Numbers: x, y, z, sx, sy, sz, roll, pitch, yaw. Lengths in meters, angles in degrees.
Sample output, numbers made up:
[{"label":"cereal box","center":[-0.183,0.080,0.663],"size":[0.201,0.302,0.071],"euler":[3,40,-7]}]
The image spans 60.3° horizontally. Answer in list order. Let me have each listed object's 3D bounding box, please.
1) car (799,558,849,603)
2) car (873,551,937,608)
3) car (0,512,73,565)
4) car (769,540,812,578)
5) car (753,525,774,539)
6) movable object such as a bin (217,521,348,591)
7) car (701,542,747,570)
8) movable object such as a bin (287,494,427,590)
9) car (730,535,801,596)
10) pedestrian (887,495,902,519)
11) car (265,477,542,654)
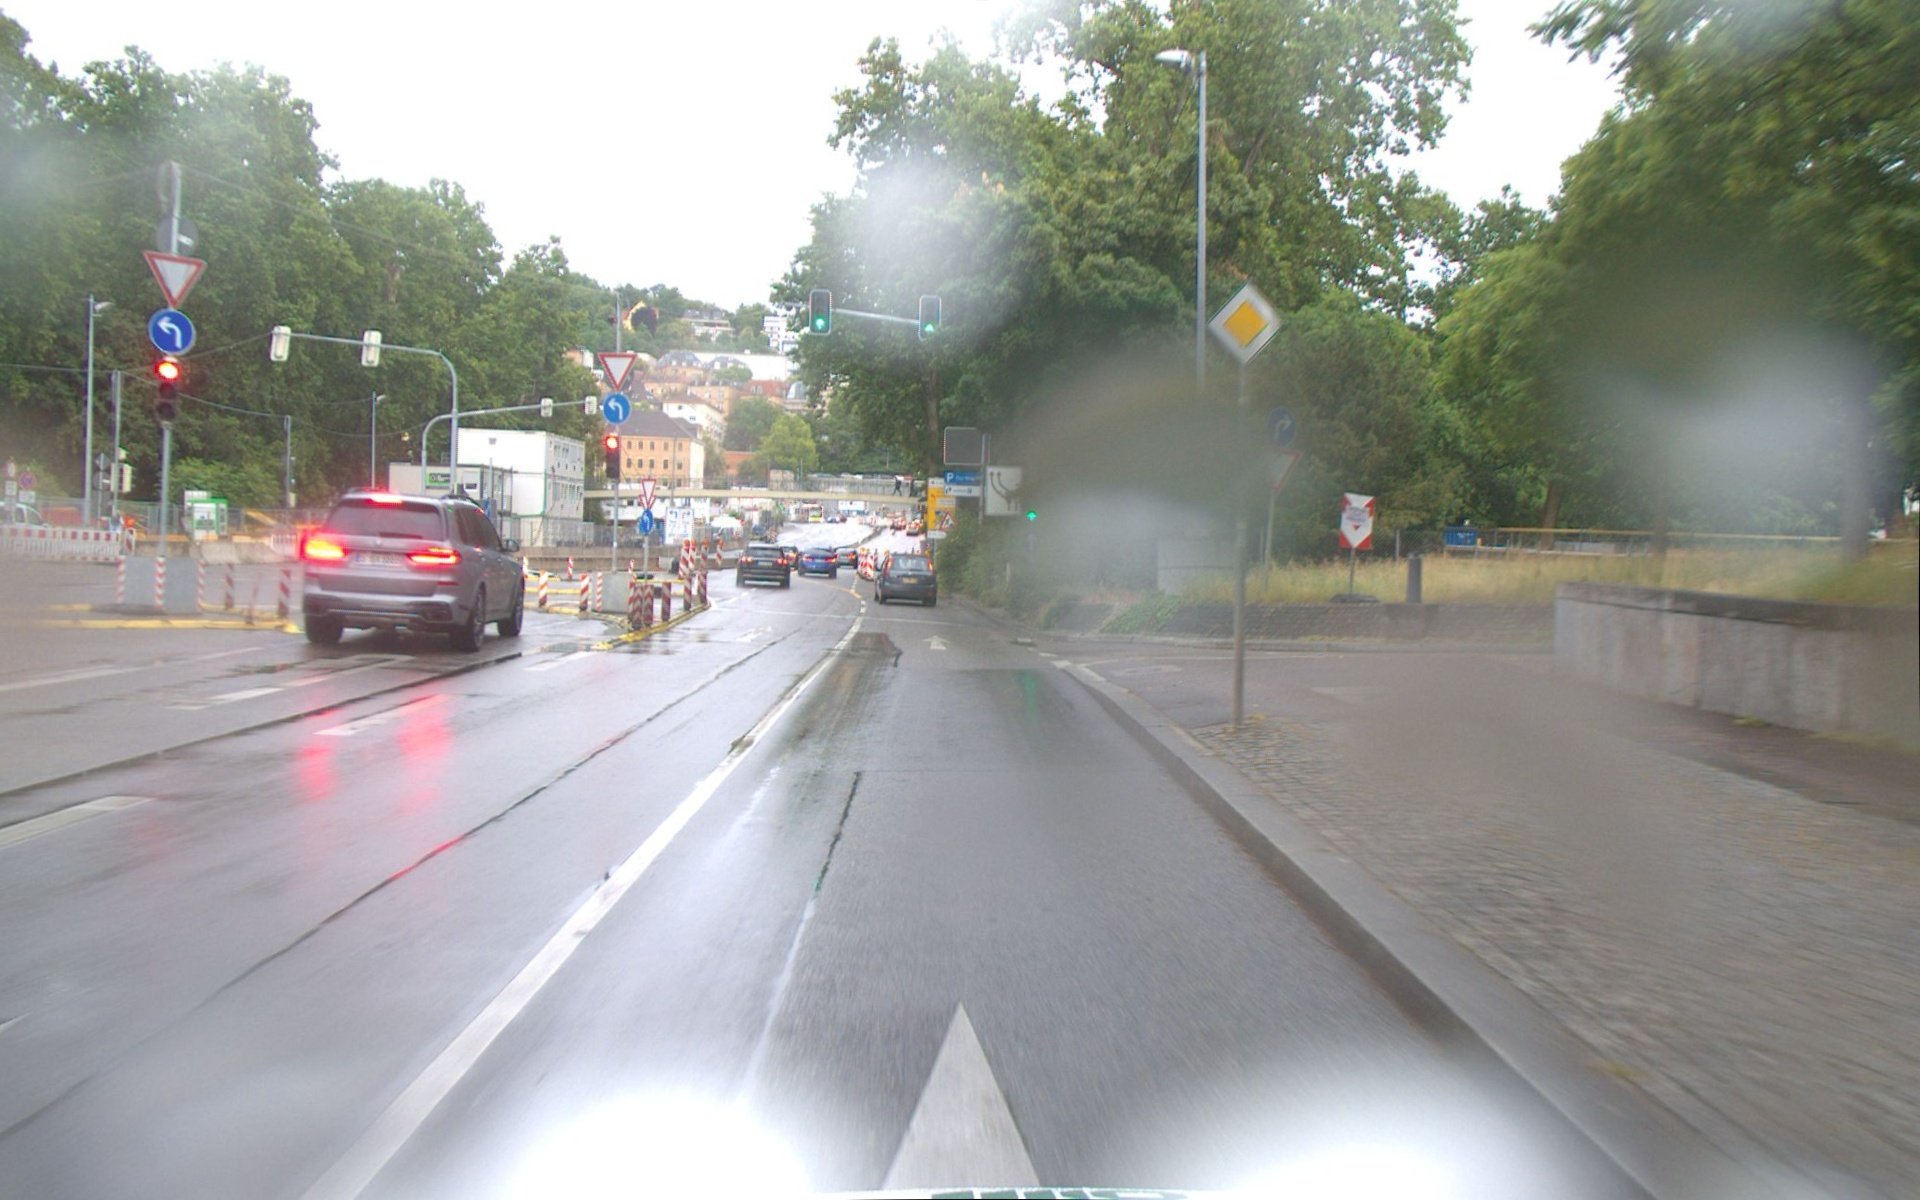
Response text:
[{"label":"car","center":[-6.634,-0.951,81.071],"size":[2.062,2.086,4.000],"euler":[1,1,0]},{"label":"car","center":[-1.628,-0.598,47.889],"size":[1.776,1.553,3.998],"euler":[1,1,-3]},{"label":"car","center":[-34.412,-2.218,60.196],"size":[1.808,1.792,4.796],"euler":[1,1,-2]},{"label":"car","center":[-9.934,-2.440,97.237],"size":[1.952,2.048,4.003],"euler":[0,4,2]},{"label":"car","center":[-25.521,-8.814,214.514],"size":[1.952,1.649,4.003],"euler":[2,3,4]},{"label":"movable object such as a bin","center":[-32.853,-2.092,80.512],"size":[3.853,3.183,6.386],"euler":[1,1,-2]},{"label":"car","center":[-26.113,-4.863,183.236],"size":[1.955,2.925,6.046],"euler":[1,1,26]},{"label":"movable object such as a bin","center":[-32.475,-3.032,89.546],"size":[4.654,4.886,8.357],"euler":[1,1,-2]},{"label":"car","center":[-6.802,-1.207,58.215],"size":[1.975,2.049,4.000],"euler":[1,1,0]},{"label":"pedestrian","center":[-5.853,-8.309,147.742],"size":[1.123,2.096,1.060],"euler":[1,0,8]},{"label":"car","center":[-6.887,-0.424,21.113],"size":[2.166,1.895,5.068],"euler":[2,1,-5]}]
